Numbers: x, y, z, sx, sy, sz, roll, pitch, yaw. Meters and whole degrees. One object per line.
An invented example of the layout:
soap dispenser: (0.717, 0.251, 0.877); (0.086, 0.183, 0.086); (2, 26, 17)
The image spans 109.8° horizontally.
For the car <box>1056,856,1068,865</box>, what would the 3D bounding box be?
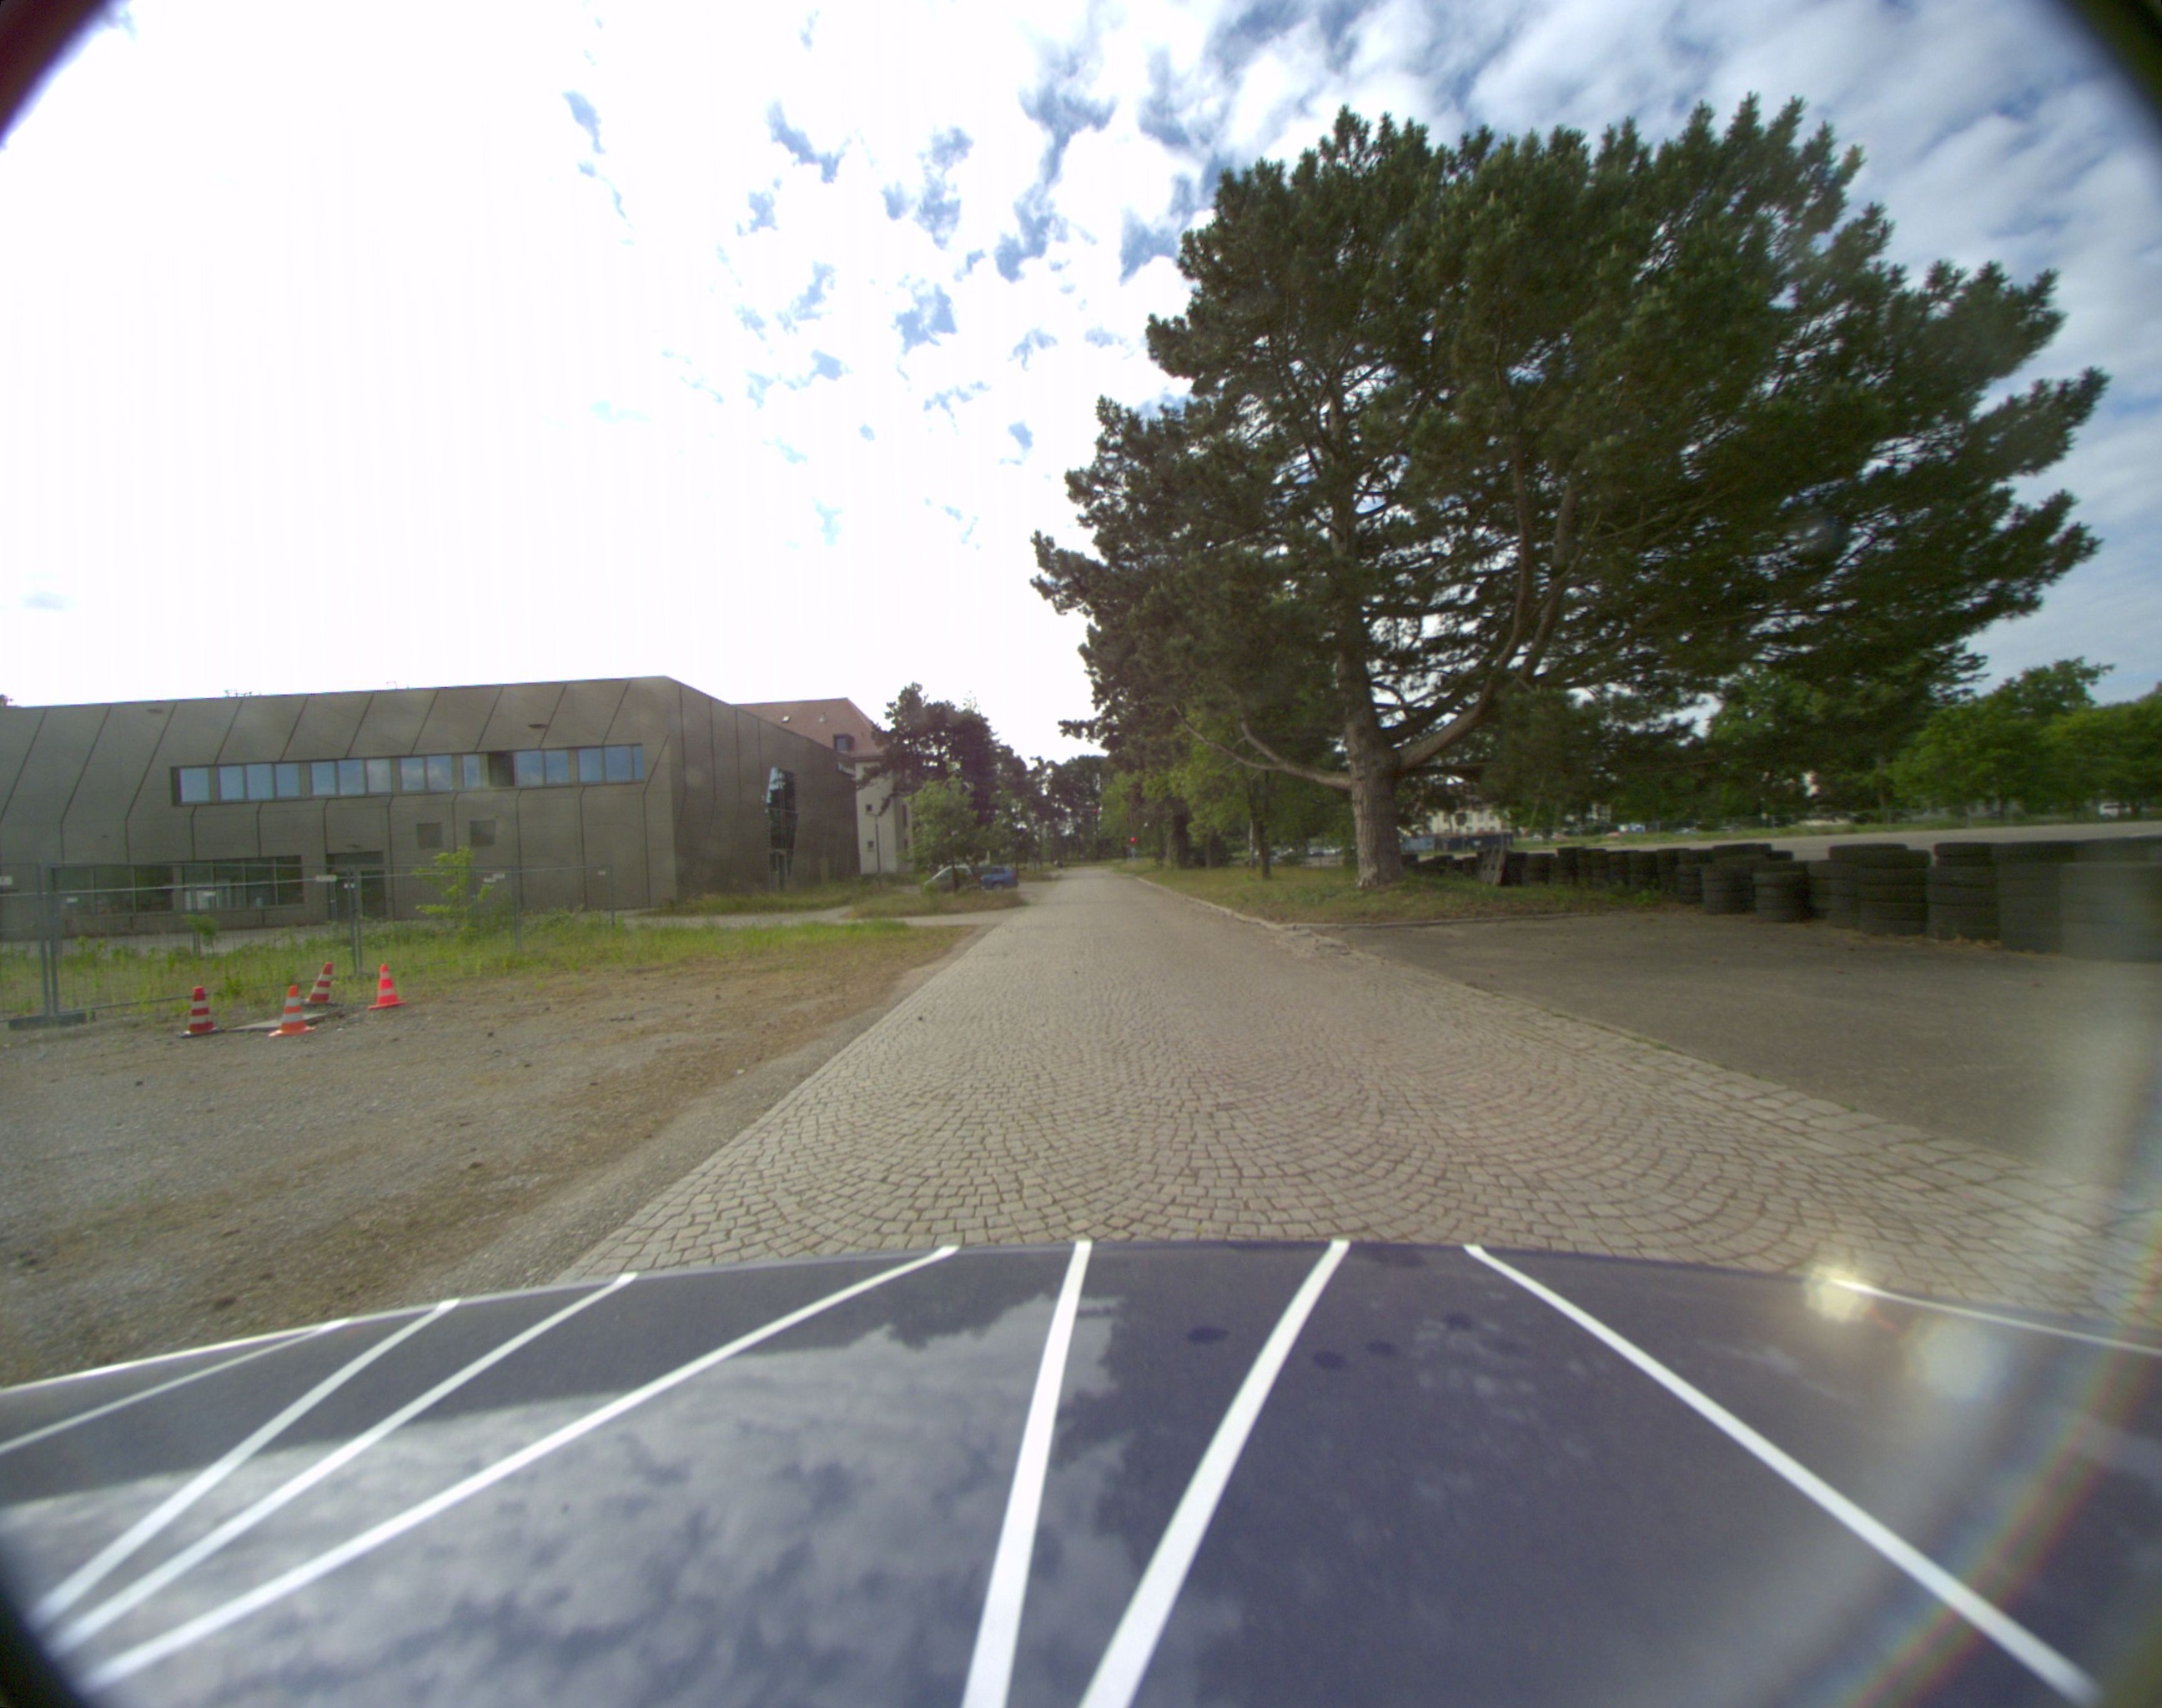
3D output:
car: (-3.874, 1.301, 156.157); (1.999, 1.777, 3.998); (-3, 0, -6)

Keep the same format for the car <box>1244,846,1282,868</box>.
car: (13.076, 0.204, 54.790); (1.670, 1.402, 3.723); (-3, 0, -2)

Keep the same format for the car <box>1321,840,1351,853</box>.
car: (31.284, -0.853, 93.393); (1.999, 1.441, 4.452); (-3, 0, -3)

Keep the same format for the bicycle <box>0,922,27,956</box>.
bicycle: (-35.548, 2.815, 24.278); (0.836, 1.019, 1.989); (-3, 1, 3)

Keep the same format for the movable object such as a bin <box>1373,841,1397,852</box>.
movable object such as a bin: (32.249, -0.783, 80.585); (1.057, 1.064, 2.719); (-3, 0, -8)

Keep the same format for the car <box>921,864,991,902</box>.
car: (-5.432, 1.231, 33.268); (2.748, 1.573, 1.682); (-1, 0, 0)

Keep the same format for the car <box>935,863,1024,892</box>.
car: (-5.366, 1.241, 40.608); (4.537, 1.441, 1.931); (-1, 0, -2)

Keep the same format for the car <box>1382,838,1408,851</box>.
car: (42.873, -1.289, 103.792); (1.749, 1.674, 3.803); (-3, 0, -5)

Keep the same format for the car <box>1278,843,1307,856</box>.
car: (25.826, -0.521, 92.787); (1.999, 1.441, 4.452); (-3, 0, -3)

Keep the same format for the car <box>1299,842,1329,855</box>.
car: (28.404, -0.675, 92.876); (1.999, 1.441, 4.452); (-3, 0, -3)

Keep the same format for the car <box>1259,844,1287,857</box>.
car: (23.321, -0.366, 92.318); (1.999, 1.441, 4.452); (-3, 0, -3)
